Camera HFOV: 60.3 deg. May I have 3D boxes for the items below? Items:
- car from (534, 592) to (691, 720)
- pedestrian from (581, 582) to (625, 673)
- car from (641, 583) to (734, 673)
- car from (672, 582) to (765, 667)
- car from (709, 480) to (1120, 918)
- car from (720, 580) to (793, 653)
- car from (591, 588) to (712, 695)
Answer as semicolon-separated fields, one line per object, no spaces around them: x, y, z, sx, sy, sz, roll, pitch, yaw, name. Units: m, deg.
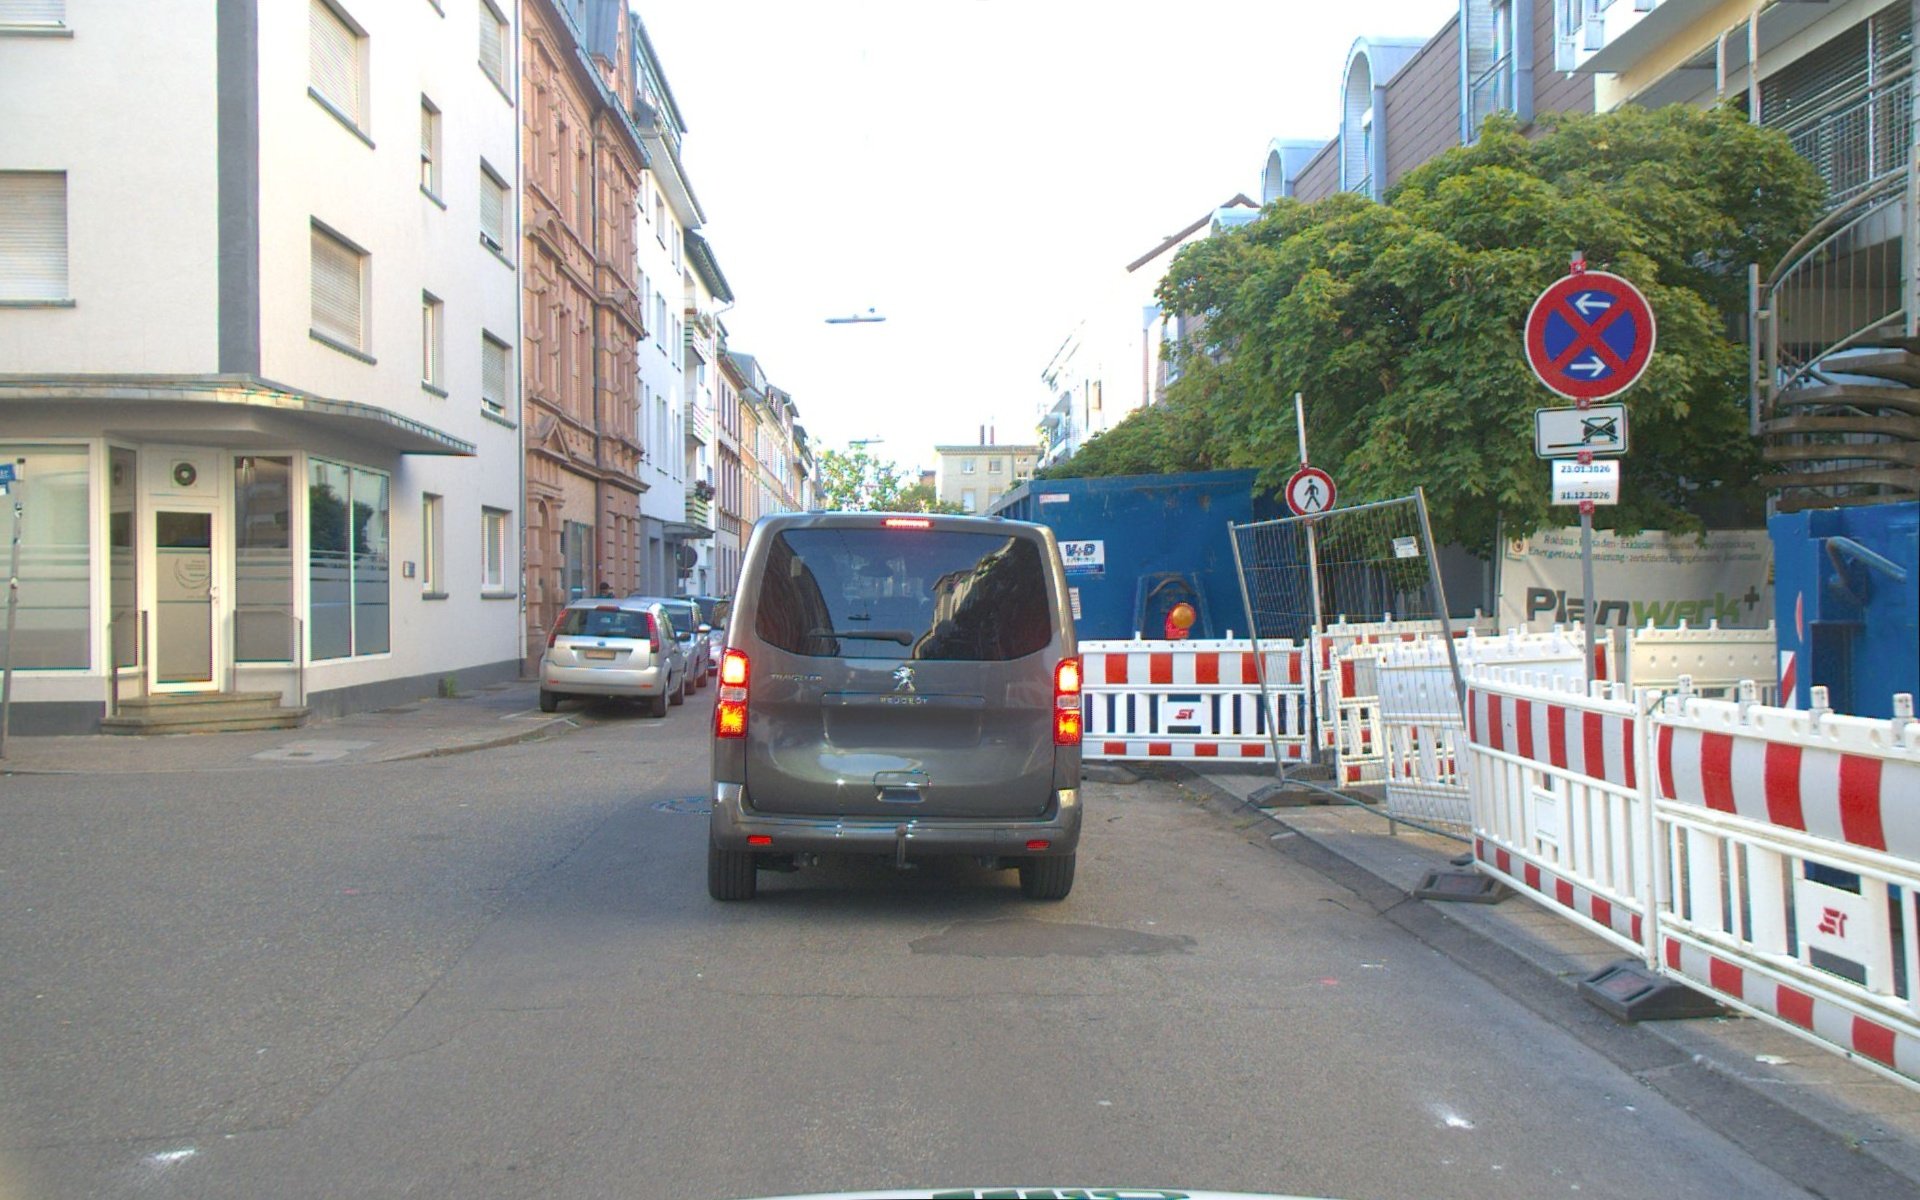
-4.604;0.707;22.319;1.624;1.485;3.413;4;-1;-6;car
-6.737;0.518;31.264;0.726;1.693;0.702;-1;0;-7;pedestrian
-5.677;0.576;34.707;1.634;1.695;3.087;4;-1;-6;car
-5.548;0.560;38.352;1.855;1.749;3.749;4;-1;-6;car
-0.407;0.450;9.473;1.829;1.919;4.229;0;0;-6;car
-5.827;0.473;47.714;1.855;1.878;4.343;4;-1;-6;car
-5.085;0.663;27.626;1.624;1.552;3.413;4;-1;-6;car
